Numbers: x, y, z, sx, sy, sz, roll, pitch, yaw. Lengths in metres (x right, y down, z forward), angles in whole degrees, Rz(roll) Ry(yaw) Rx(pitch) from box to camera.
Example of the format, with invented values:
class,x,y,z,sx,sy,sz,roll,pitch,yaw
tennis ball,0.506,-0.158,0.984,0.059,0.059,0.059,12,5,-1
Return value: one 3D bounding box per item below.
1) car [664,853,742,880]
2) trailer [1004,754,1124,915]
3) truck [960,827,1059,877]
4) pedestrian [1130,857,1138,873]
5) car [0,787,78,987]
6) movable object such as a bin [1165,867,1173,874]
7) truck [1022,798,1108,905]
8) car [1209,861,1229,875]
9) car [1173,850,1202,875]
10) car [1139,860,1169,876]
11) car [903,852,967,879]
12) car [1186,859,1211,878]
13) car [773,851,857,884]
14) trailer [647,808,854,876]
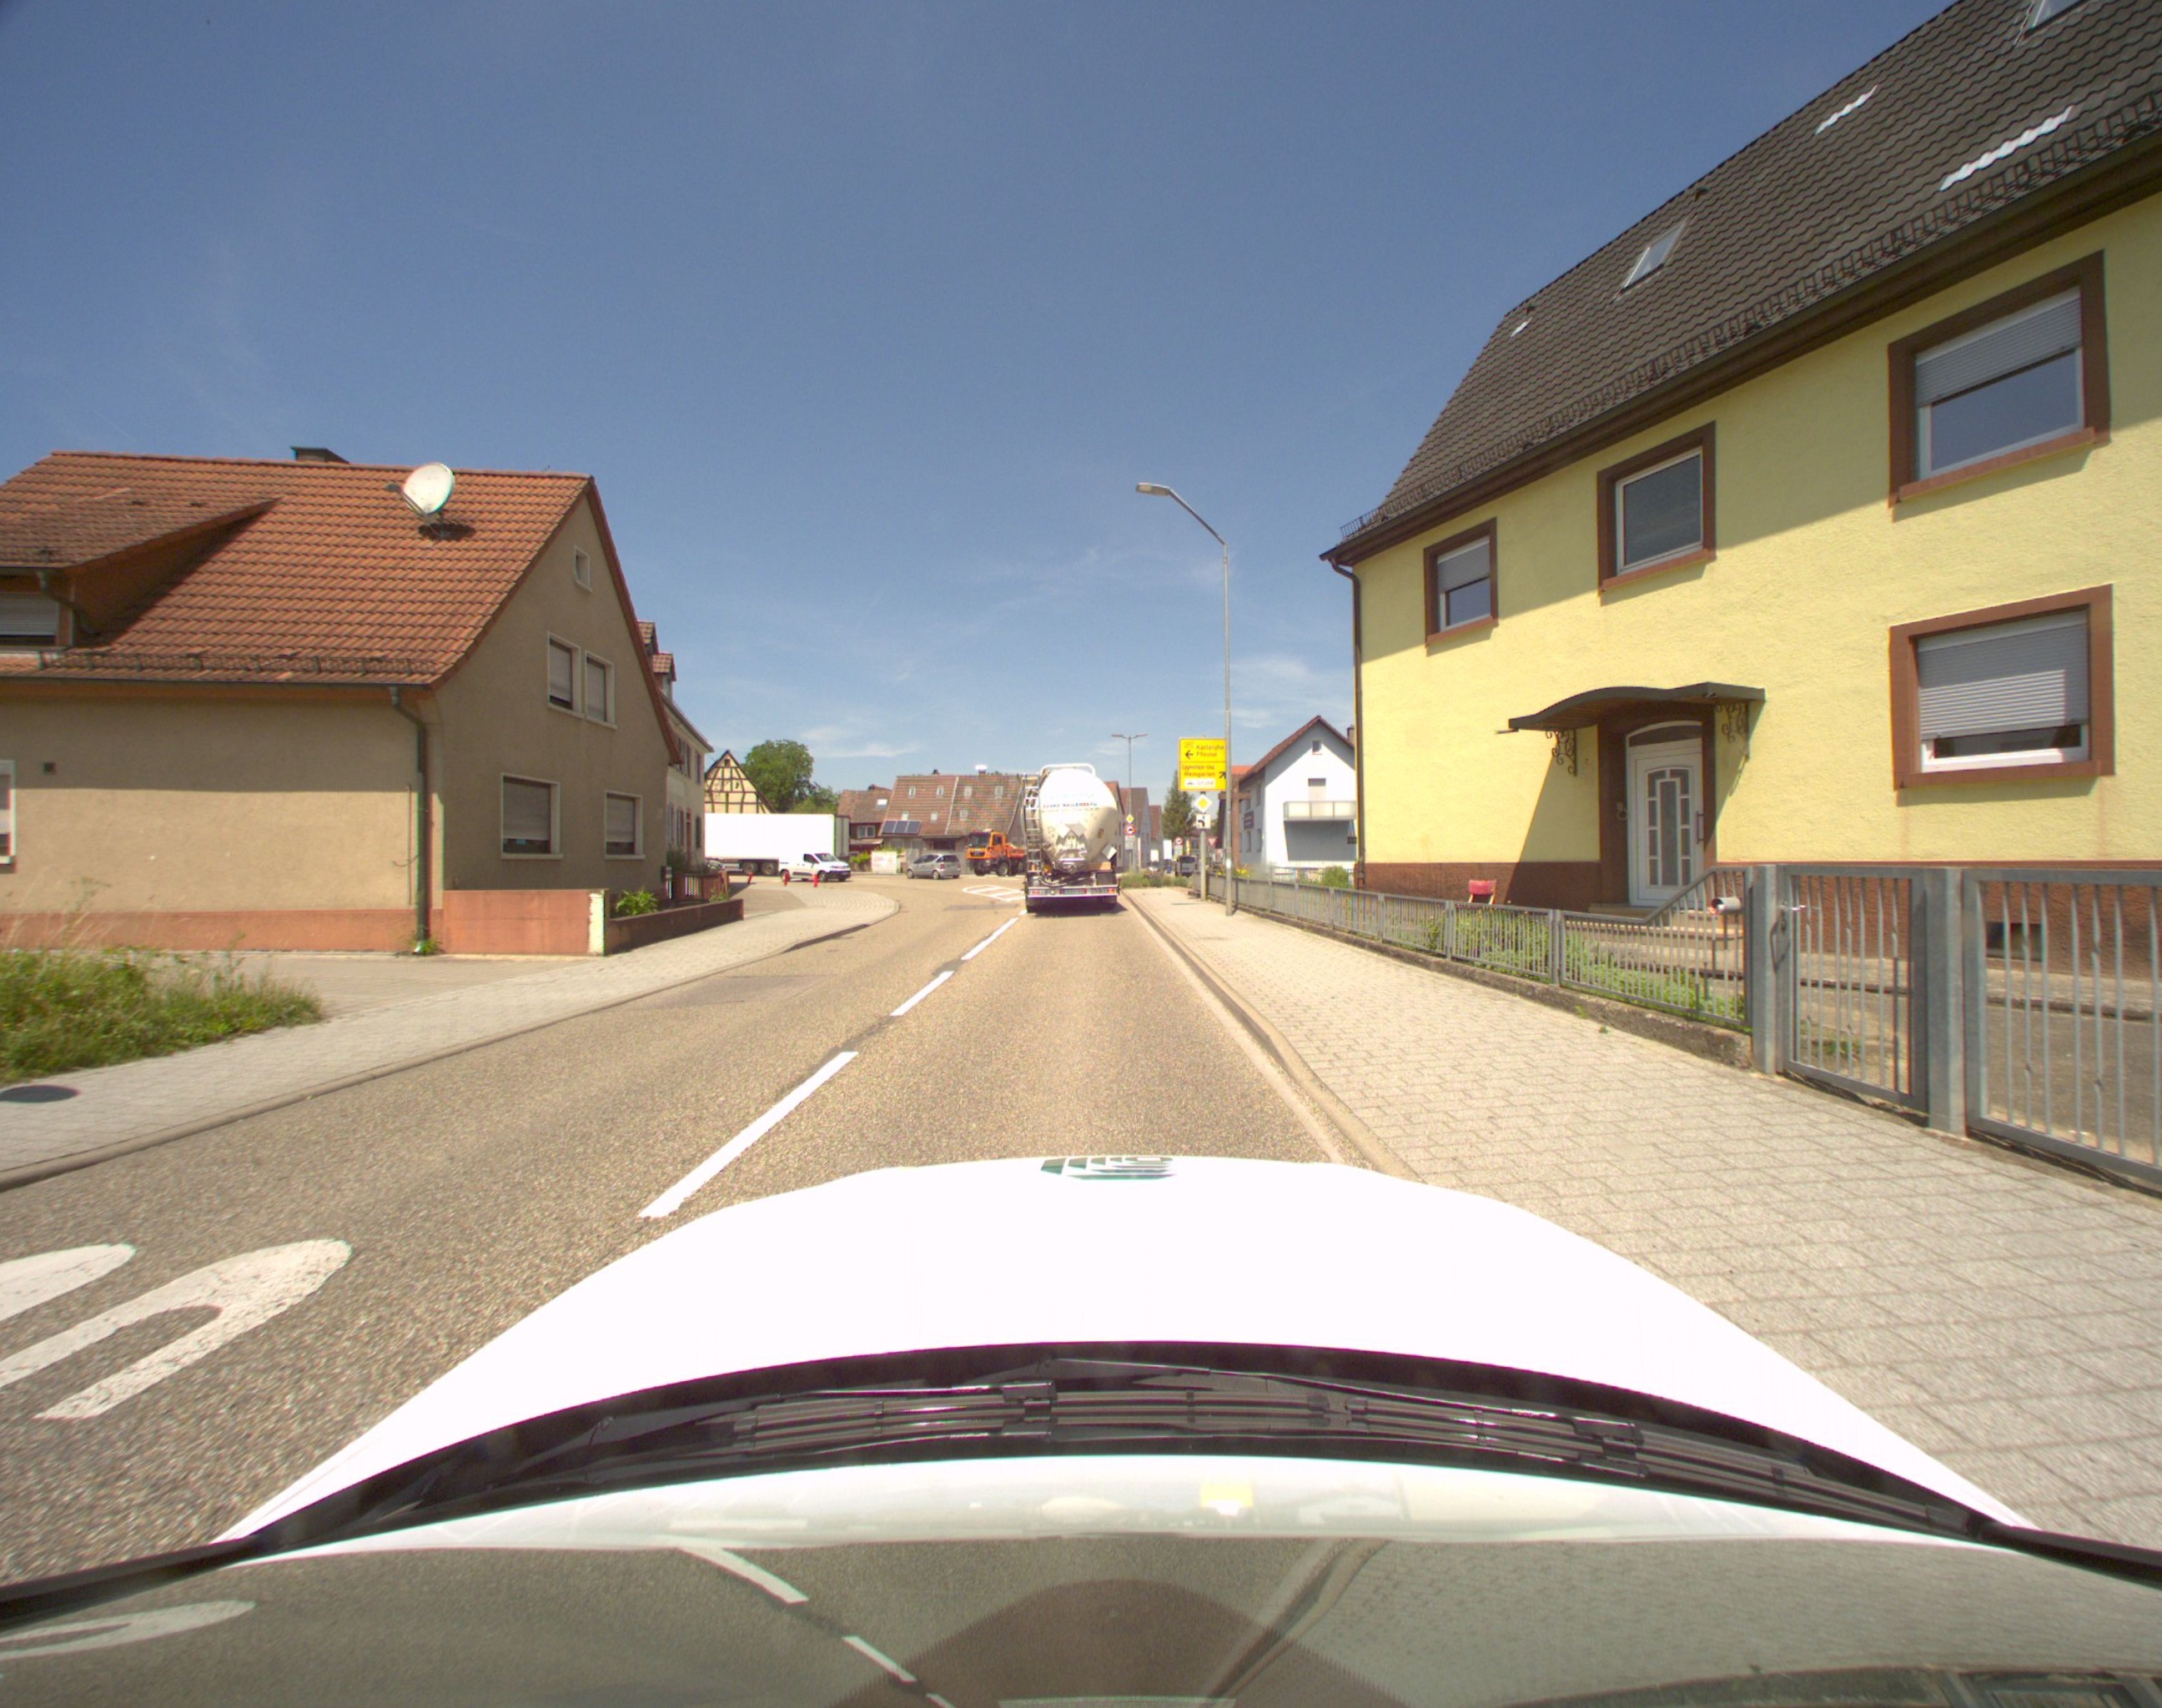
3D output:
class,x,y,z,sx,sy,sz,roll,pitch,yaw
car,-23.098,0.757,49.863,3.962,1.524,1.803,1,0,10
trailer,-0.478,-0.420,25.870,2.944,3.948,11.613,0,-1,-1
truck,-4.878,-0.023,57.248,2.635,3.181,7.509,-1,-2,36
pedestrian,6.707,1.343,103.586,0.762,2.014,0.981,0,-1,21
car,-10.926,0.314,6.288,4.109,1.638,1.866,-1,-1,2
movable object such as a bin,12.425,2.297,114.582,0.913,1.049,0.947,0,-1,16
truck,-0.771,-0.043,33.319,2.984,3.965,5.566,1,-1,-6
car,15.798,1.598,92.867,1.979,1.585,4.014,-1,-1,13
car,8.914,0.732,68.044,1.980,1.912,4.338,0,-2,13
car,7.922,1.565,88.098,1.976,1.675,4.336,0,-2,24
car,-8.726,0.705,48.705,3.559,1.585,1.799,-1,-1,36
car,10.840,1.331,75.010,1.804,1.634,4.224,-1,-1,15
car,-15.417,0.739,47.253,4.468,1.785,1.890,0,0,22
trailer,-21.498,-0.743,53.355,12.393,4.277,3.147,0,-1,5
